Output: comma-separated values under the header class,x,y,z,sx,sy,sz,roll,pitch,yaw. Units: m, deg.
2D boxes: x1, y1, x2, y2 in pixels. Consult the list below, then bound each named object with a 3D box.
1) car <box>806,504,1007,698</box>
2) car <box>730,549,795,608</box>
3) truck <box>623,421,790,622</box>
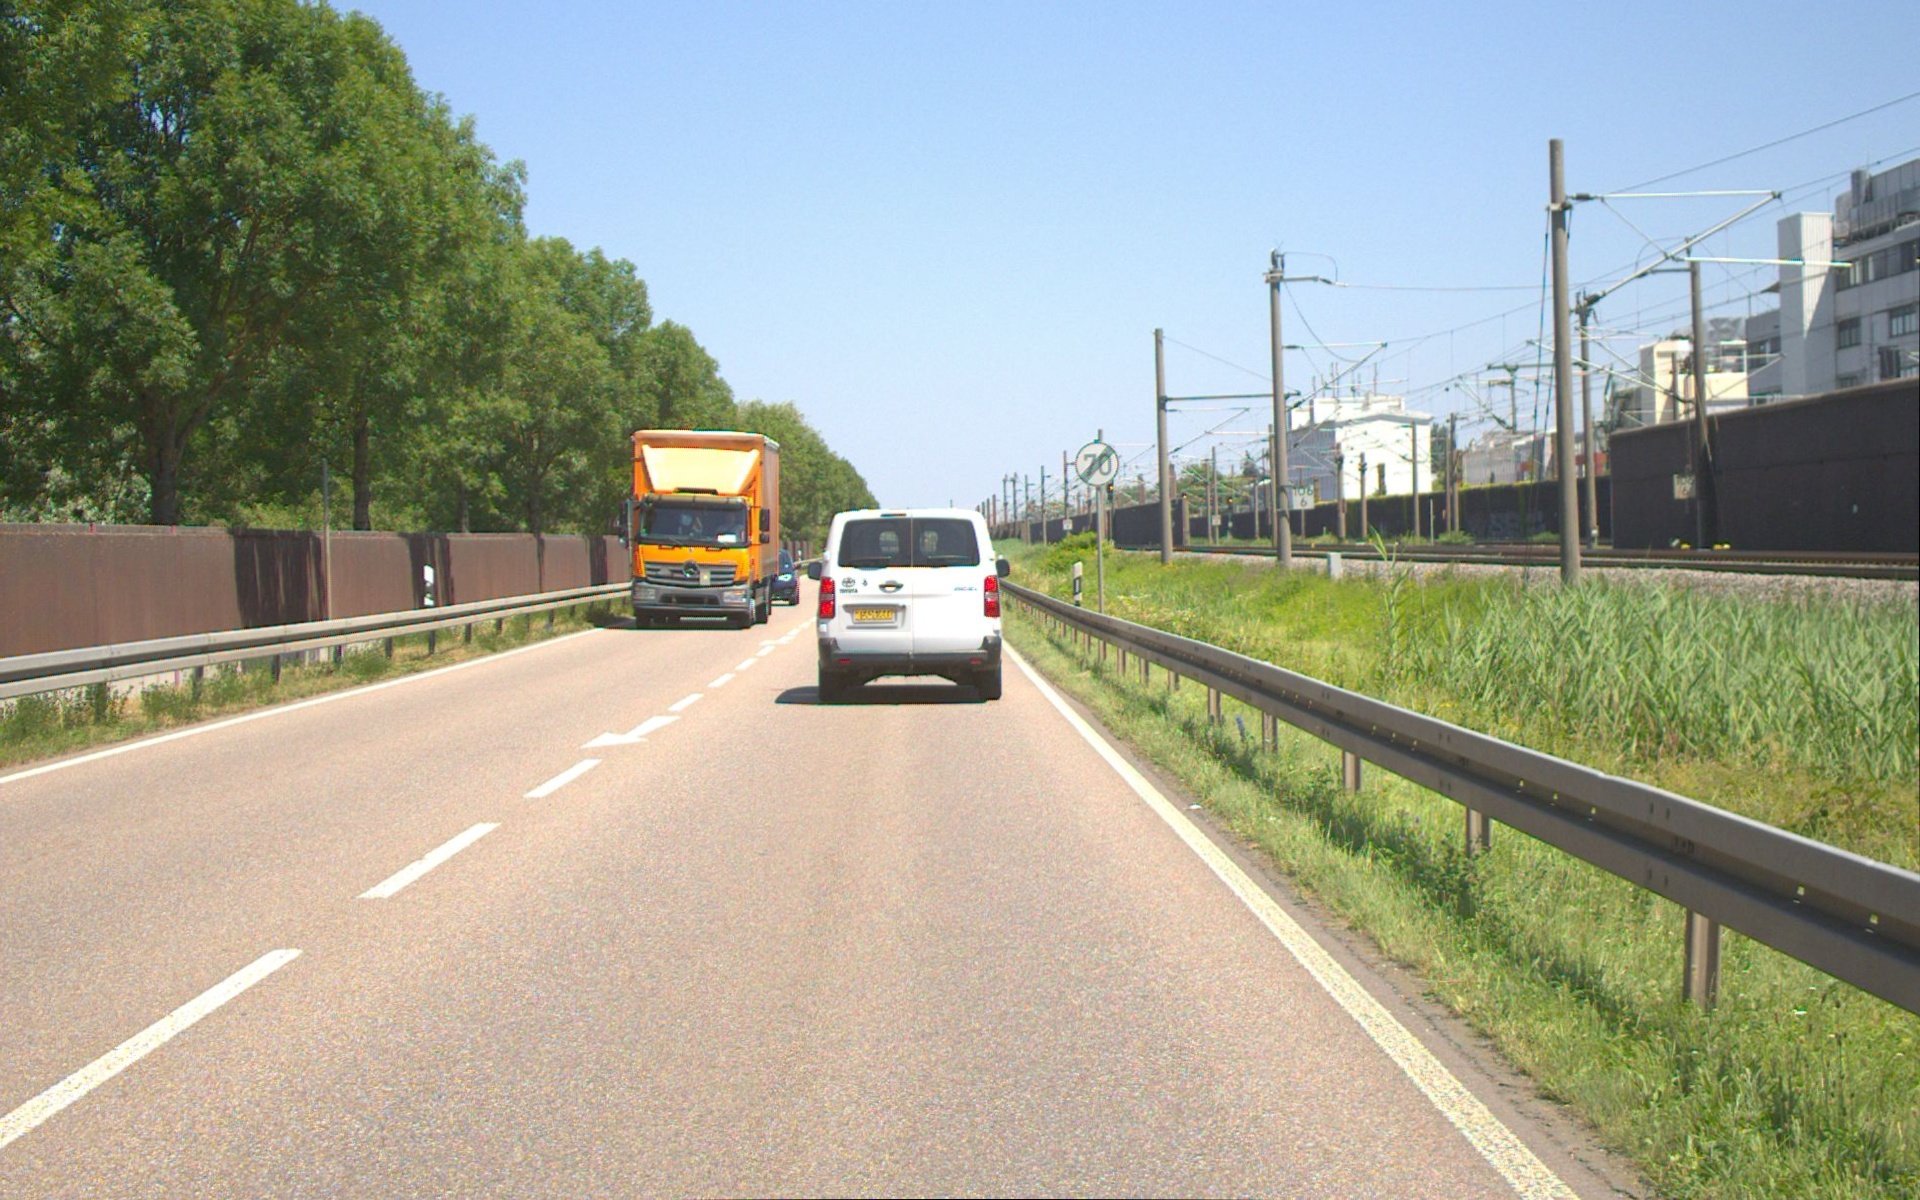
class,x,y,z,sx,sy,sz,roll,pitch,yaw
car,-0.550,-0.019,35.873,1.945,1.875,4.881,0,1,-1
car,-5.485,-0.618,95.720,1.622,1.572,3.763,-1,1,0
truck,-5.074,-1.575,70.310,2.792,3.827,9.324,0,1,-1
